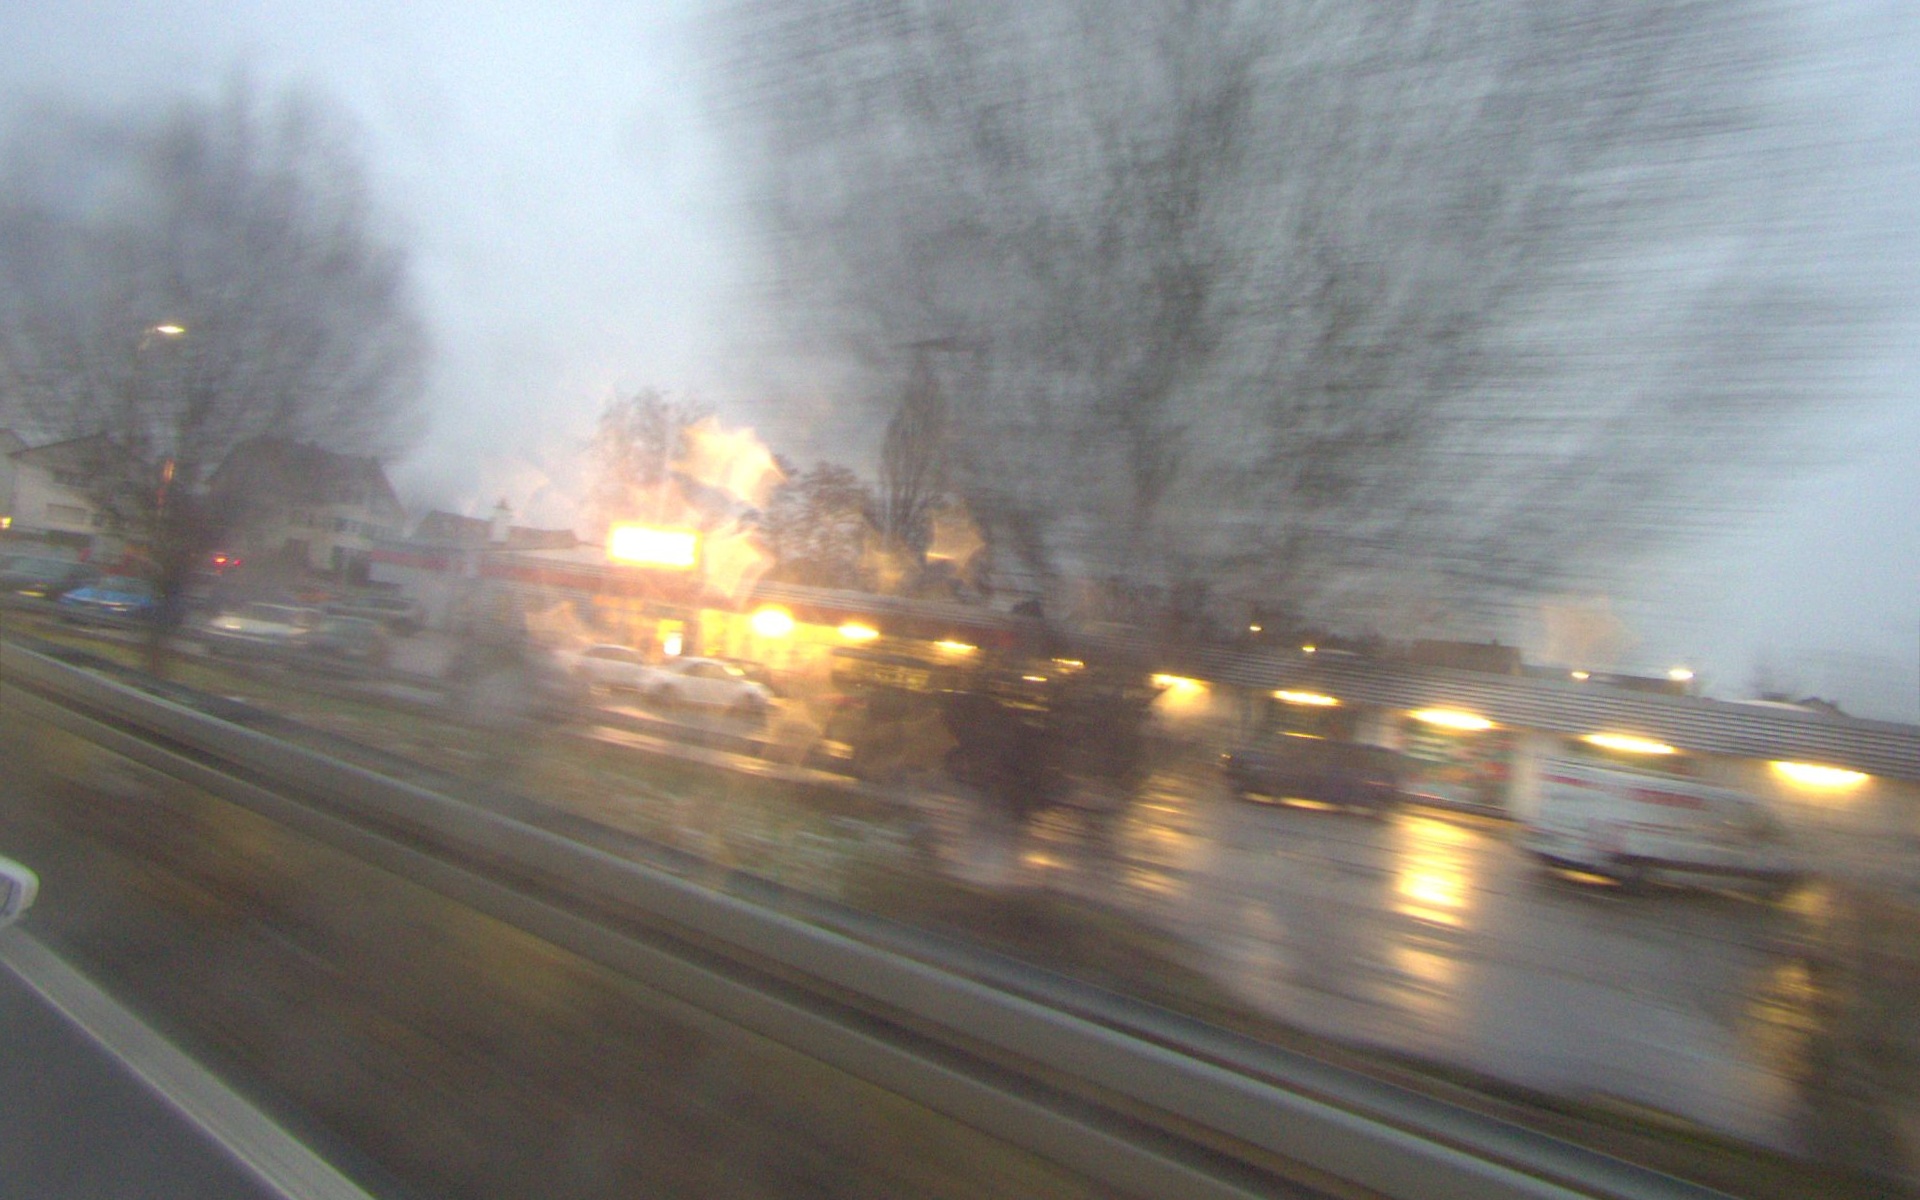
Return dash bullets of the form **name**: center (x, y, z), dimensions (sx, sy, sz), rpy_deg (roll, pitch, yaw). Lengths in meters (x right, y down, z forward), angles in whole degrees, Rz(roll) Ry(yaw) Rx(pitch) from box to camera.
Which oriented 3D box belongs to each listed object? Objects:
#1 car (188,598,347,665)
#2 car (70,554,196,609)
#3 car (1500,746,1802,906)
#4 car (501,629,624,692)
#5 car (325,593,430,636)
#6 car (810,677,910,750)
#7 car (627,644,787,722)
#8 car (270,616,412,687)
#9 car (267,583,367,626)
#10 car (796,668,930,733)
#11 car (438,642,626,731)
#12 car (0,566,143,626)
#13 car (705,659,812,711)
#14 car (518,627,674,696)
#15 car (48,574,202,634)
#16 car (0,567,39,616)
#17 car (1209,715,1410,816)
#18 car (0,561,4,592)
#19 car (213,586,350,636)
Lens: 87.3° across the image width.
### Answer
- **car**: center (-18.544, 0.792, 27.224), dimensions (1.875, 1.413, 4.694), rpy_deg (8, -2, -14)
- **car**: center (-38.108, -0.846, 46.476), dimensions (3.982, 1.890, 1.716), rpy_deg (9, -2, -21)
- **car**: center (14.439, 4.709, 21.109), dimensions (5.161, 2.468, 2.274), rpy_deg (8, -1, -16)
- **car**: center (-13.612, 2.075, 34.658), dimensions (3.576, 1.603, 1.596), rpy_deg (9, -2, -14)
- **car**: center (-26.186, 0.635, 45.362), dimensions (3.789, 1.367, 1.562), rpy_deg (9, -2, -22)
- **car**: center (-2.897, 3.193, 28.556), dimensions (1.379, 1.551, 3.233), rpy_deg (10, -4, -31)
- **car**: center (-7.888, 2.590, 31.370), dimensions (4.418, 1.657, 1.816), rpy_deg (11, -3, -25)
- **car**: center (-15.852, 1.280, 26.024), dimensions (1.823, 1.413, 4.170), rpy_deg (8, -2, -14)
- **car**: center (-31.252, 0.215, 48.988), dimensions (3.796, 1.517, 1.559), rpy_deg (9, -2, -27)
- **car**: center (-3.231, 3.335, 33.364), dimensions (3.971, 1.518, 1.720), rpy_deg (9, -2, -20)
- **car**: center (-9.794, 1.957, 23.029), dimensions (3.743, 1.445, 1.774), rpy_deg (7, -2, 25)
- **car**: center (-27.155, -0.099, 30.510), dimensions (1.903, 1.471, 4.575), rpy_deg (8, -3, -16)
- **car**: center (-7.426, 3.106, 36.939), dimensions (3.580, 1.361, 1.594), rpy_deg (9, -2, -17)
- **car**: center (-11.722, 1.999, 32.608), dimensions (4.481, 1.552, 1.799), rpy_deg (9, -2, -19)
- **car**: center (-24.597, 0.114, 29.838), dimensions (1.876, 1.413, 4.167), rpy_deg (8, -2, -16)
- **car**: center (-31.113, -0.335, 31.657), dimensions (1.609, 1.436, 3.983), rpy_deg (8, -2, -20)
- **car**: center (9.618, 4.549, 27.717), dimensions (4.888, 1.979, 1.883), rpy_deg (10, -3, -16)
- **car**: center (-33.775, -0.723, 33.228), dimensions (1.609, 1.436, 3.983), rpy_deg (8, -2, -20)
- **car**: center (-28.027, 0.467, 41.729), dimensions (4.256, 1.441, 1.740), rpy_deg (9, -2, -19)
